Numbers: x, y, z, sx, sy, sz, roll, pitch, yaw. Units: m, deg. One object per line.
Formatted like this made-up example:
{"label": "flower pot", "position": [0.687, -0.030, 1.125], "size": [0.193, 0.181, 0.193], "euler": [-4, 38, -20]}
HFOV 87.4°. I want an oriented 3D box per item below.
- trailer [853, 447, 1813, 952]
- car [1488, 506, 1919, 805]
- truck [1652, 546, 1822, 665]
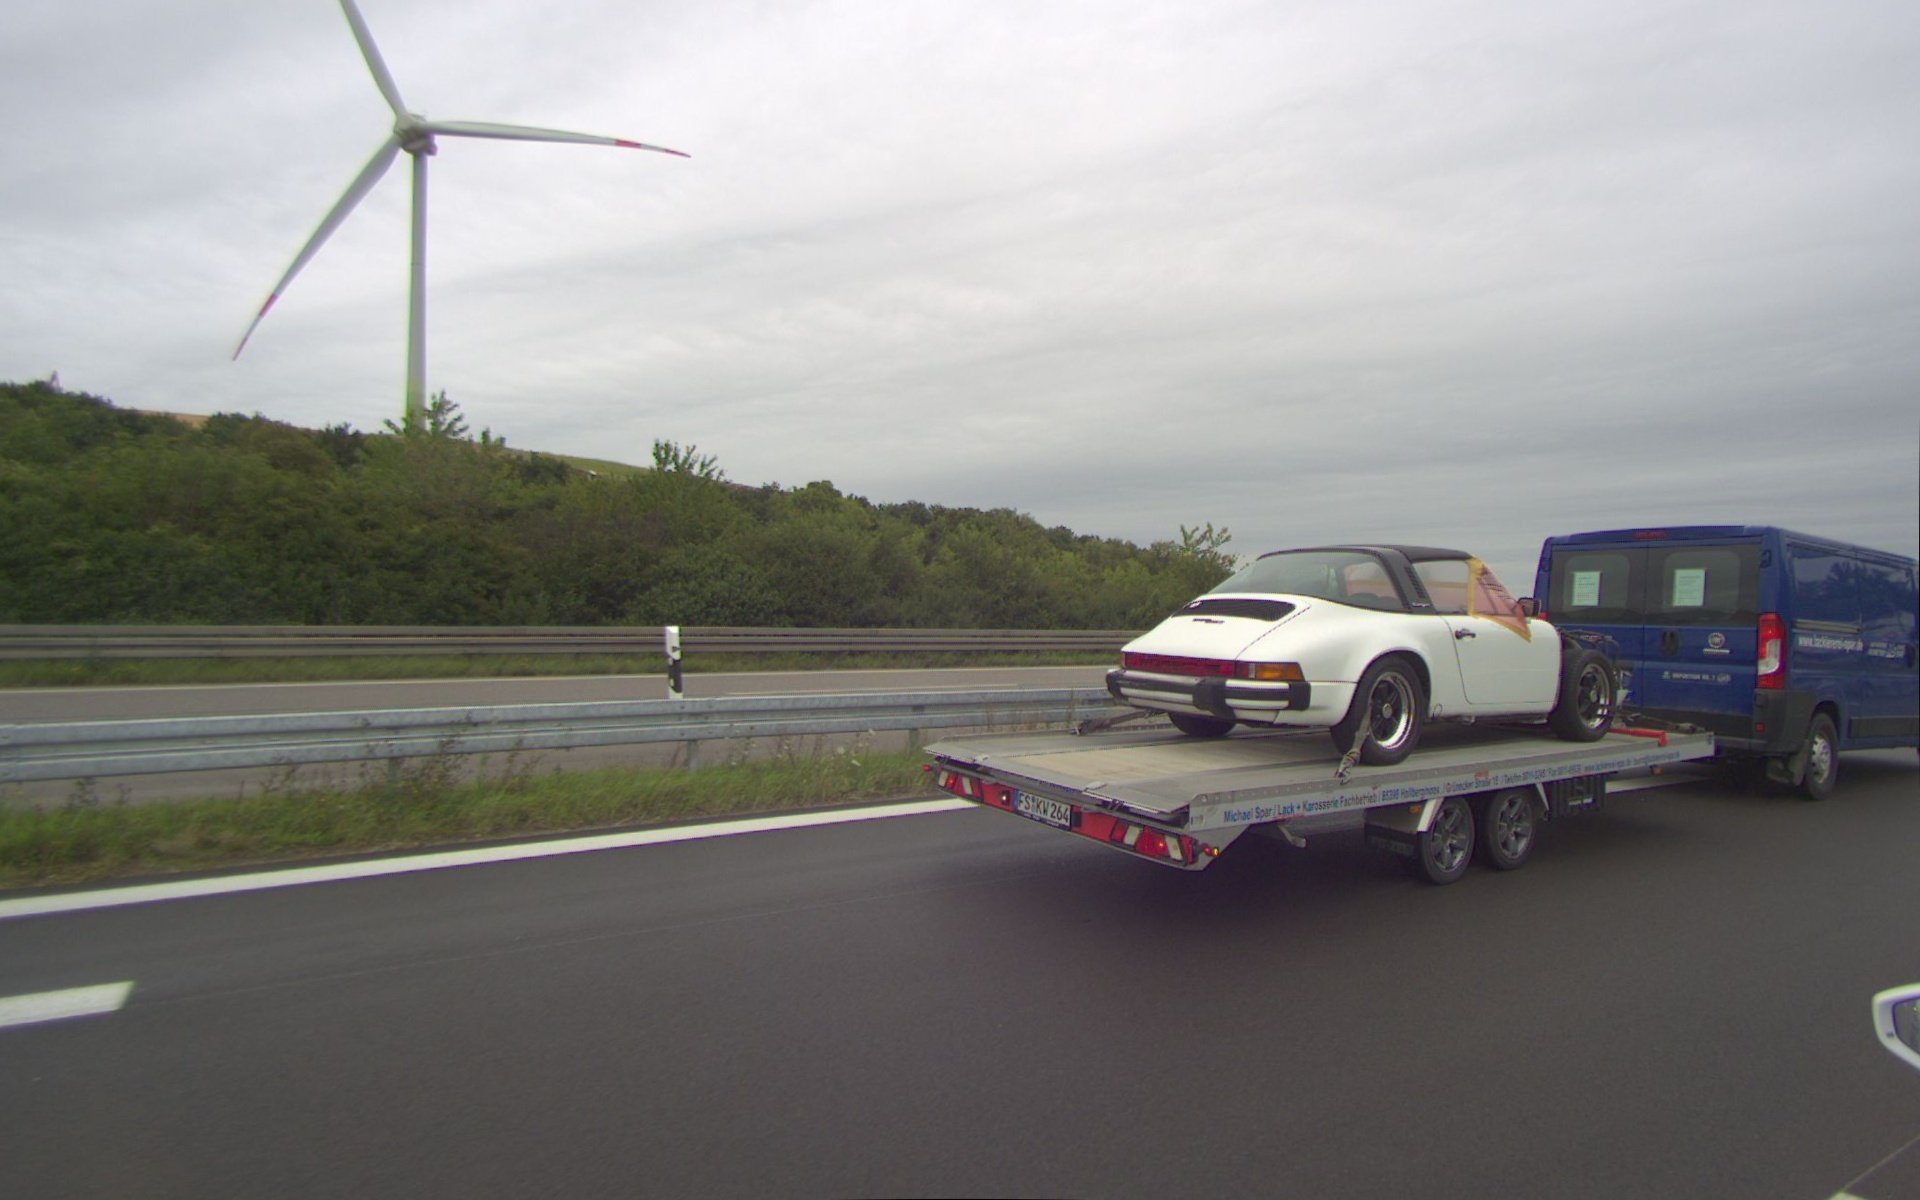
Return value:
{"label": "trailer", "position": [2.959, 0.464, 6.939], "size": [6.985, 2.021, 2.471], "euler": [2, 0, -32]}
{"label": "car", "position": [8.383, 0.484, 10.394], "size": [6.187, 2.297, 2.359], "euler": [2, 0, -32]}
{"label": "truck", "position": [27.789, 0.277, 35.820], "size": [7.268, 3.863, 2.621], "euler": [2, 0, -34]}
